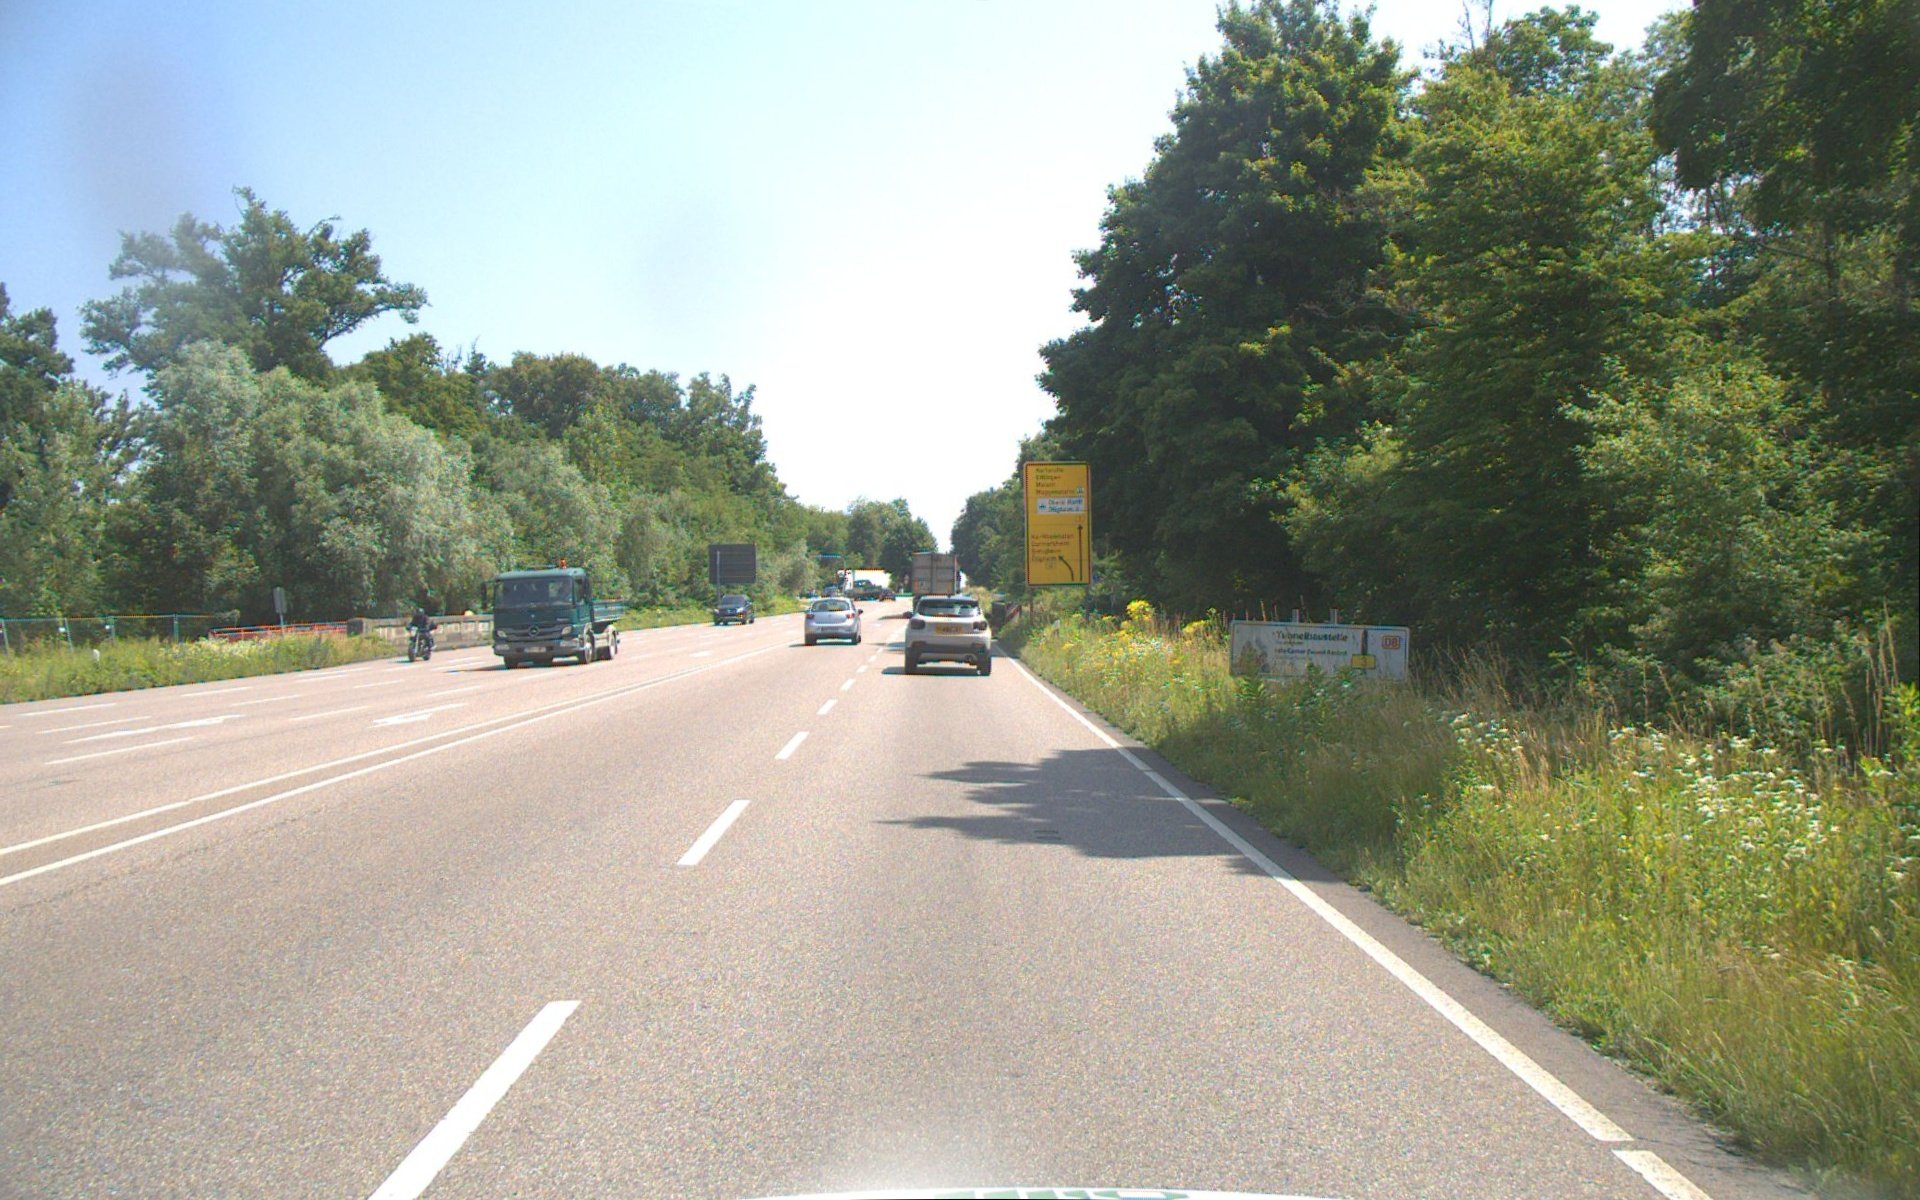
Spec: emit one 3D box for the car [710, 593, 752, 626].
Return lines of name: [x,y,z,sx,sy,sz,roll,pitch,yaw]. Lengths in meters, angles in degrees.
car: [-13.905,0.534,100.694,1.953,1.914,4.959,-2,0,-1]

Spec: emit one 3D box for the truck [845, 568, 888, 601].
truck: [-12.257,-1.988,215.779,3.587,4.177,9.466,0,0,-16]

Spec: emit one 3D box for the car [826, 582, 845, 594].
car: [-17.513,-1.722,232.938,1.960,1.613,3.985,0,0,-14]

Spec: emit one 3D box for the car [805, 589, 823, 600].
car: [-21.783,-0.805,246.552,1.960,1.613,3.985,0,0,-14]

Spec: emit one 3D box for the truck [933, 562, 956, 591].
truck: [-2.326,-3.457,246.199,3.426,4.261,10.781,0,0,-1]

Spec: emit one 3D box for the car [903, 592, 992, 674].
car: [-0.226,0.637,34.315,1.731,1.561,4.000,0,0,0]

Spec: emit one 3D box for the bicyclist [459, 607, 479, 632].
bicyclist: [-24.305,0.959,81.881,0.741,1.216,0.592,-2,0,10]

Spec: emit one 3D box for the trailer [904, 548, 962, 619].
trailer: [-1.565,-0.916,100.198,3.313,4.058,10.803,0,0,0]

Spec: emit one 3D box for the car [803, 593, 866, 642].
car: [-3.886,0.525,51.644,1.631,1.455,3.828,0,0,0]

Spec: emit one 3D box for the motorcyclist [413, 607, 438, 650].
motorcyclist: [-17.470,0.936,54.042,0.566,1.377,0.754,-2,0,-3]

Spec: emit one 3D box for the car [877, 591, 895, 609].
car: [-8.964,0.000,199.484,1.952,2.049,4.553,0,0,0]

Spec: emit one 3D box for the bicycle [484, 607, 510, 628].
bicycle: [-23.847,0.906,85.216,0.591,1.023,1.557,-2,0,10]

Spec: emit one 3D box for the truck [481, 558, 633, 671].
truck: [-10.822,0.341,45.003,2.404,2.702,6.491,-4,1,0]

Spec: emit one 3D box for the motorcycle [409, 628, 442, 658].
motorcycle: [-17.454,1.408,54.023,0.506,0.908,1.909,-2,0,-3]

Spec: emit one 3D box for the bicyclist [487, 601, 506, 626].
bicyclist: [-23.876,0.700,85.198,0.719,1.216,0.592,-2,0,10]
